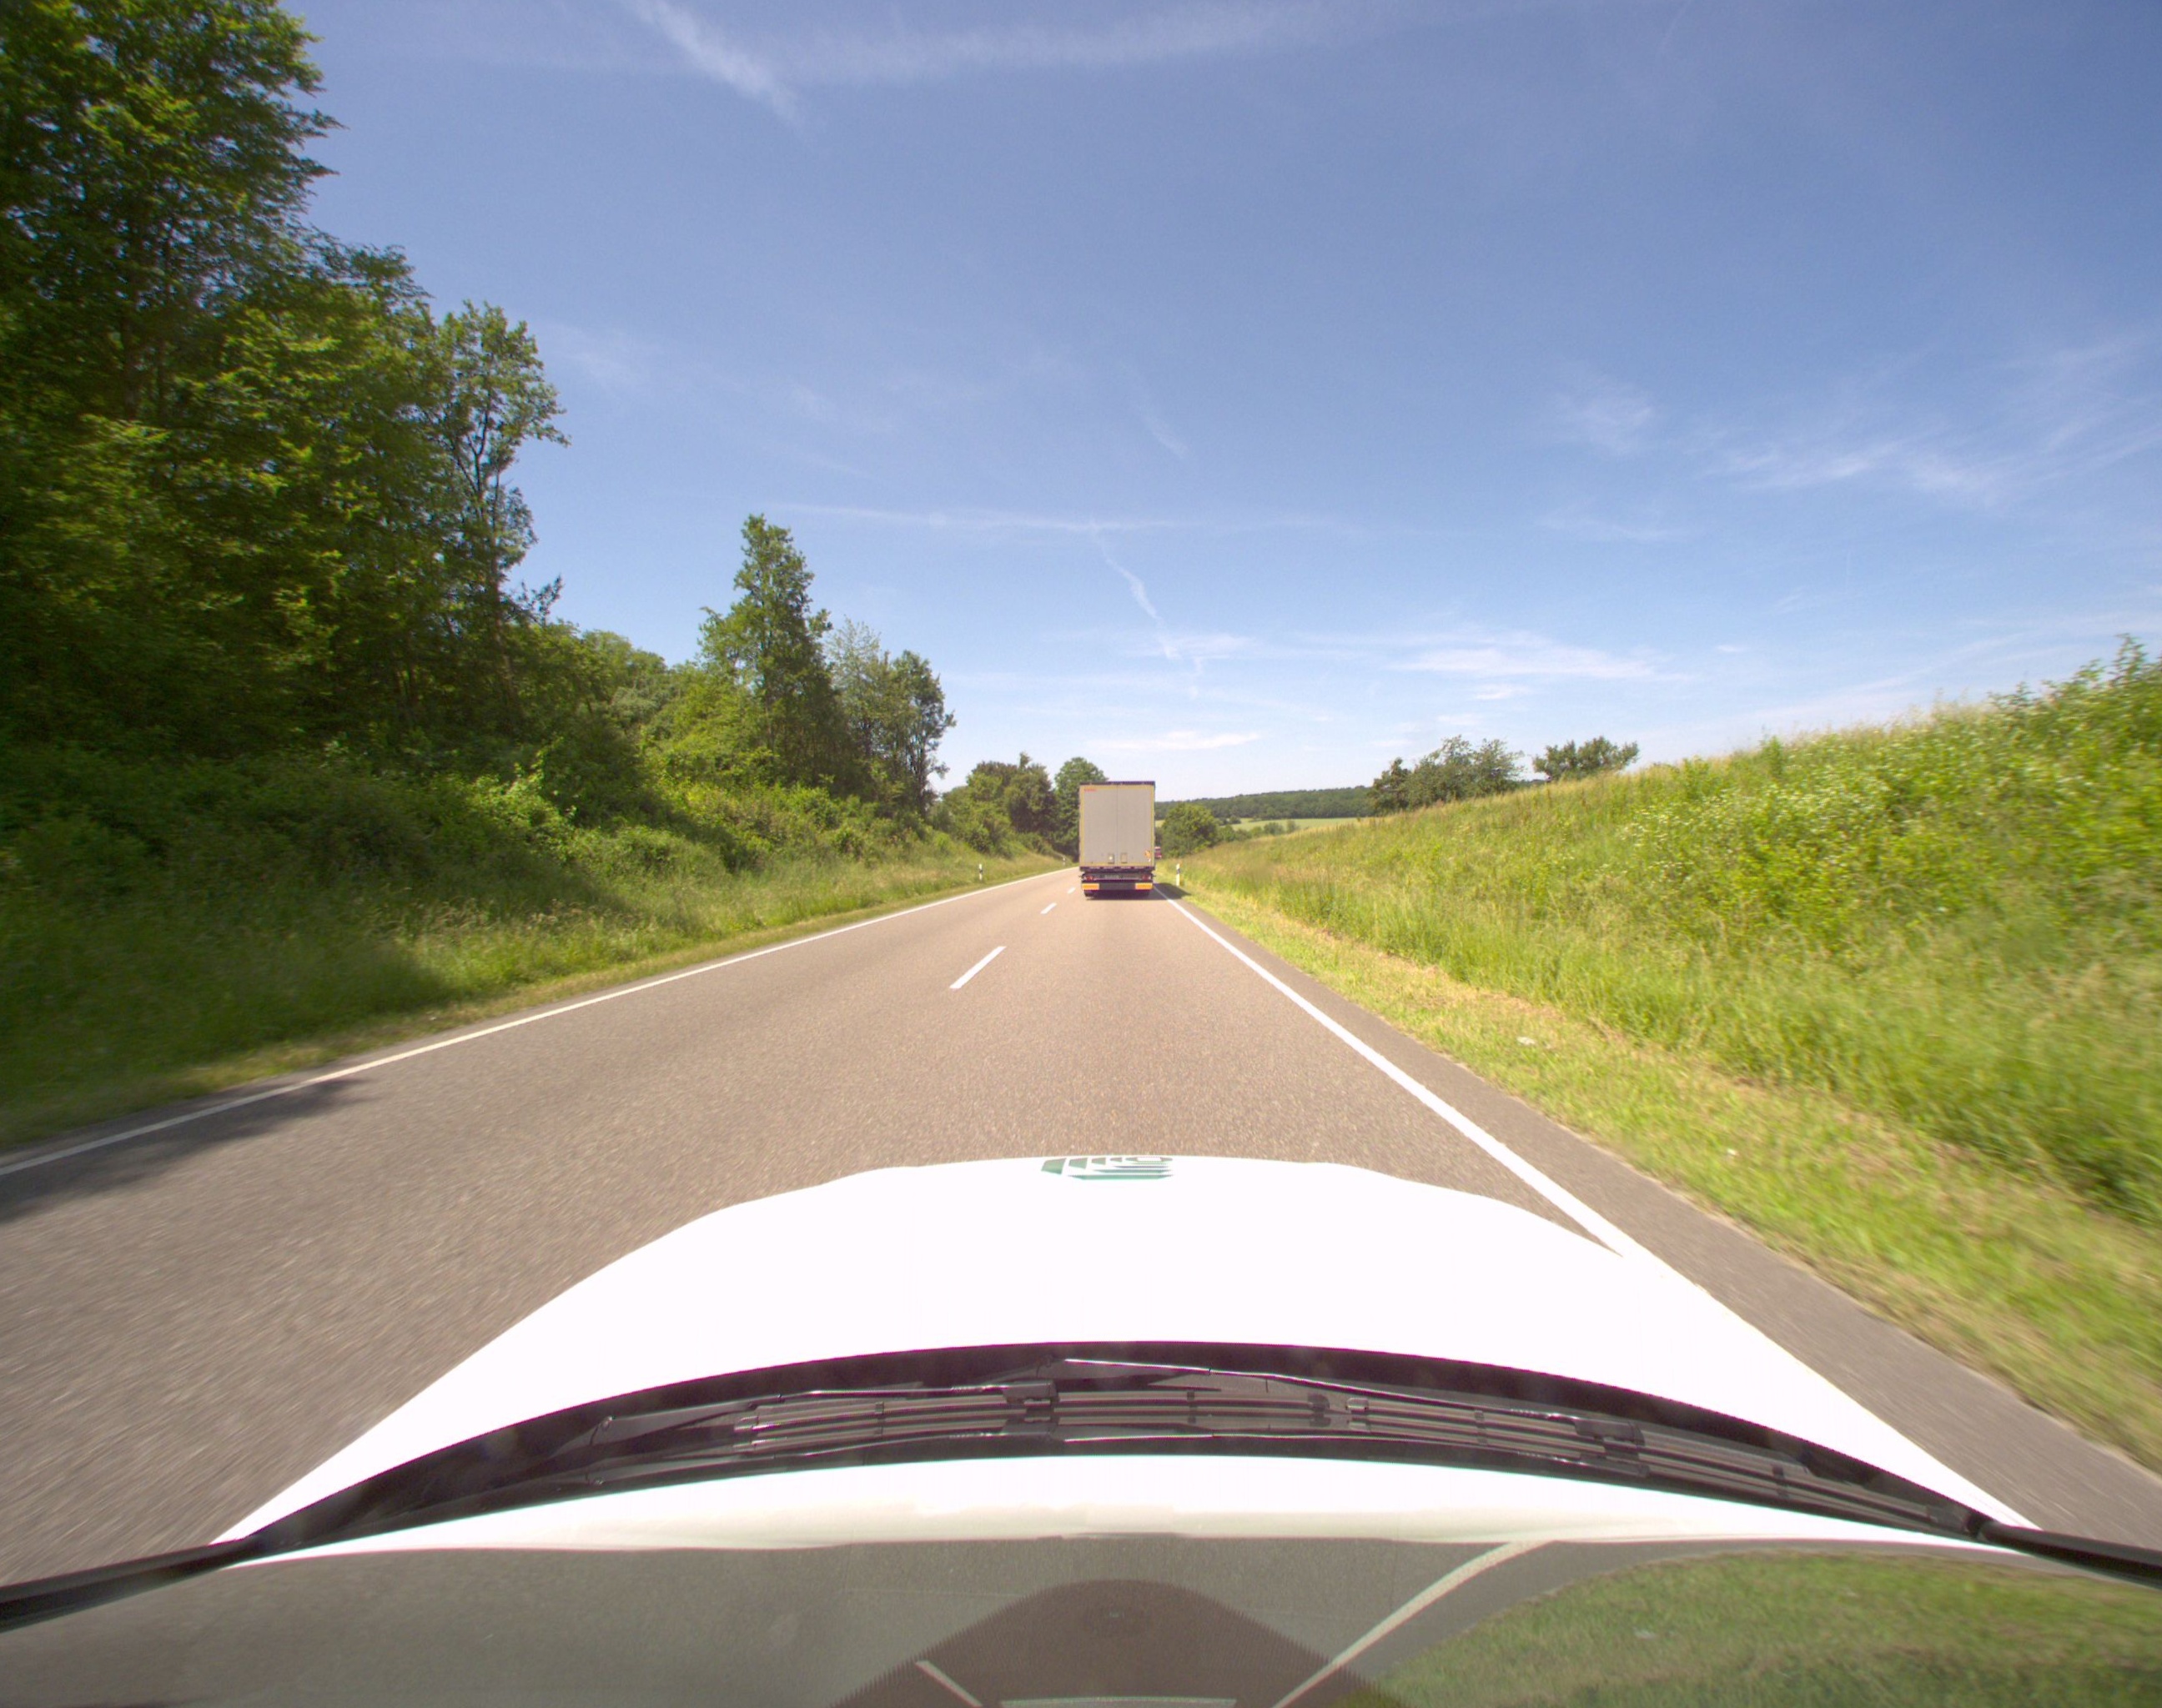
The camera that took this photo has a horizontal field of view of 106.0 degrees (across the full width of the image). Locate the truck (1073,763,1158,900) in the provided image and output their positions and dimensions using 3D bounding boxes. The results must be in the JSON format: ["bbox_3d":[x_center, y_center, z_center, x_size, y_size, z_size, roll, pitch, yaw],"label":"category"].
[{"bbox_3d":[1.309,-0.747,32.958,2.807,4.532,11.771,0,0,1],"label":"truck"}]
